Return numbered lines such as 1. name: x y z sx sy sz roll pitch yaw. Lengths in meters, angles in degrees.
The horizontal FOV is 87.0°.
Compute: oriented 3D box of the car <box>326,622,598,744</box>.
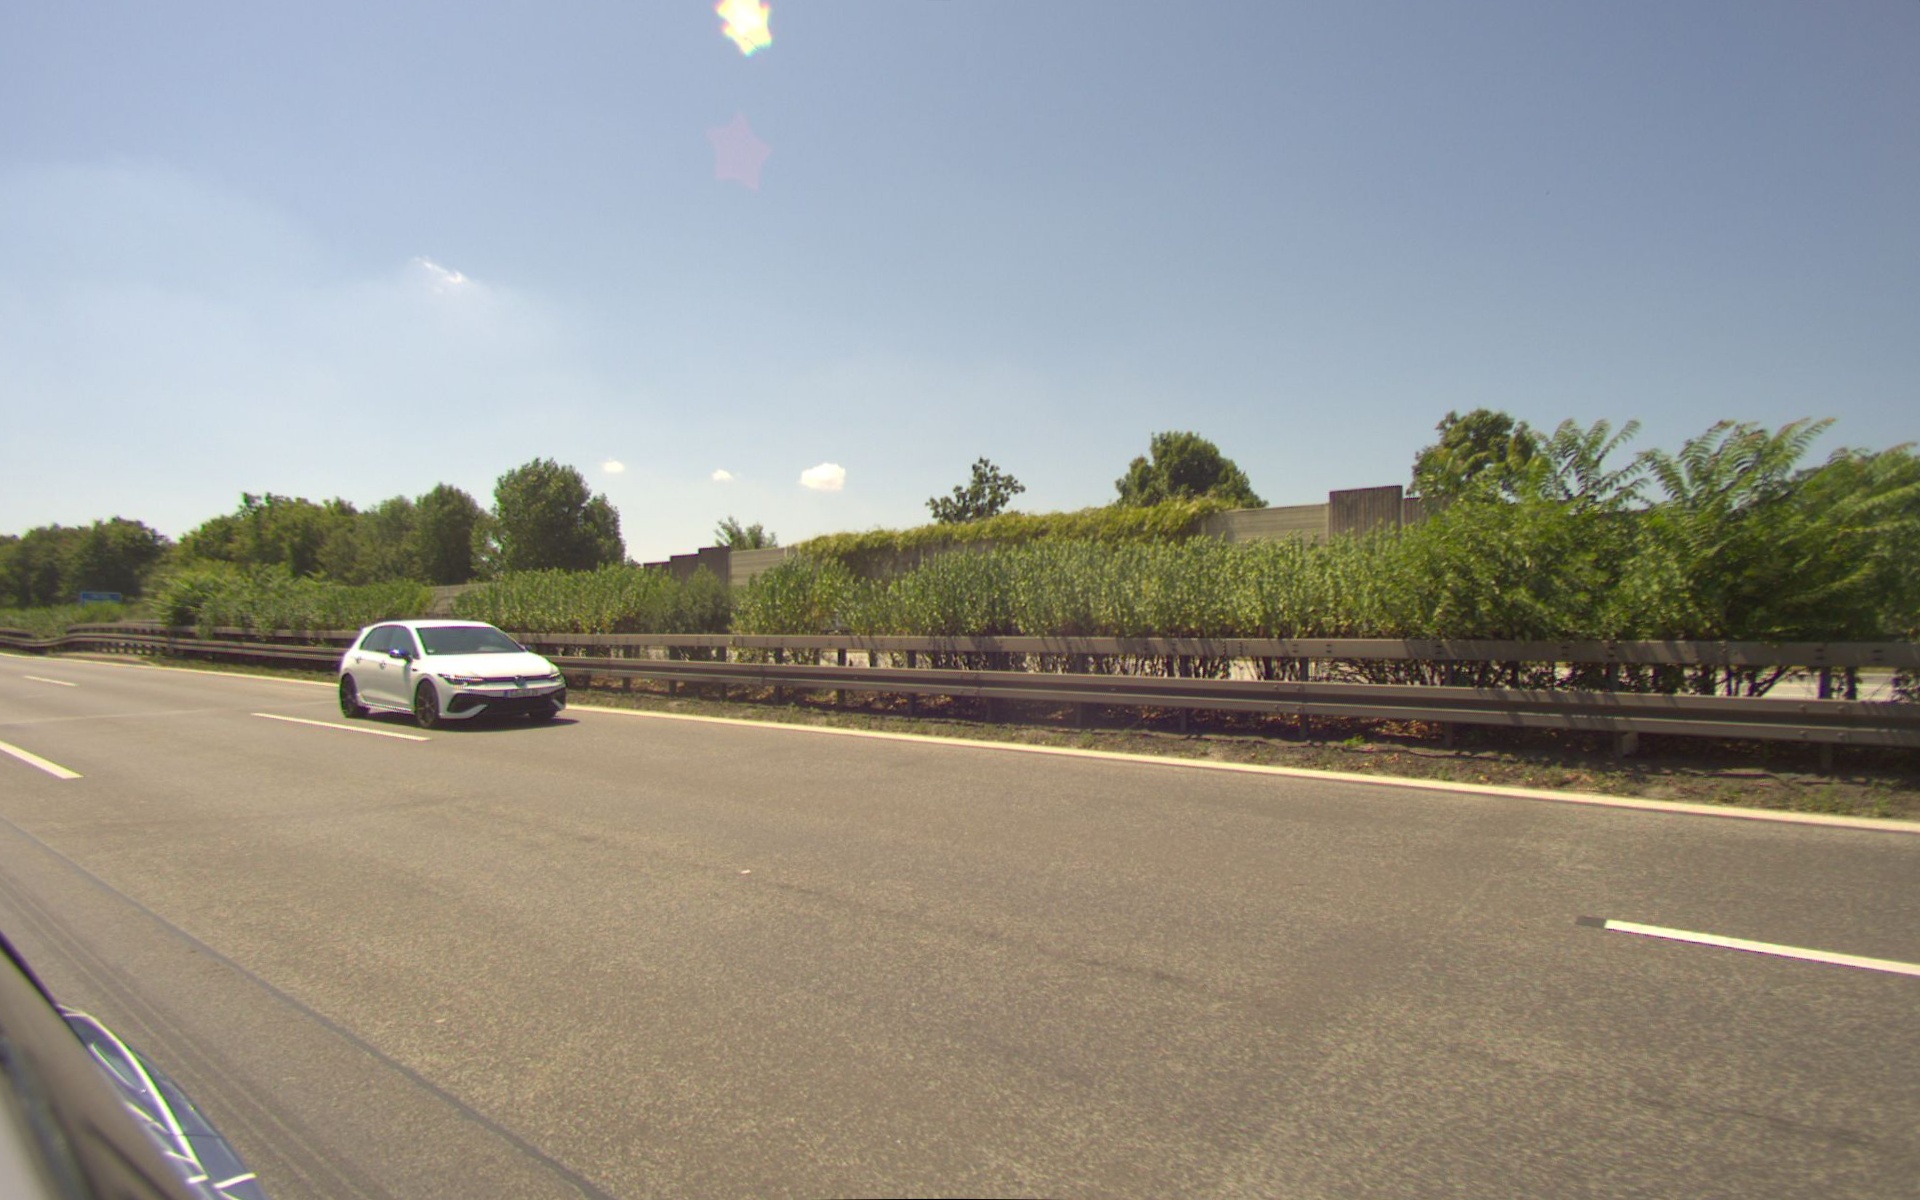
1. car: -7.245 1.058 14.502 4.664 1.451 1.764 -1 -1 40
